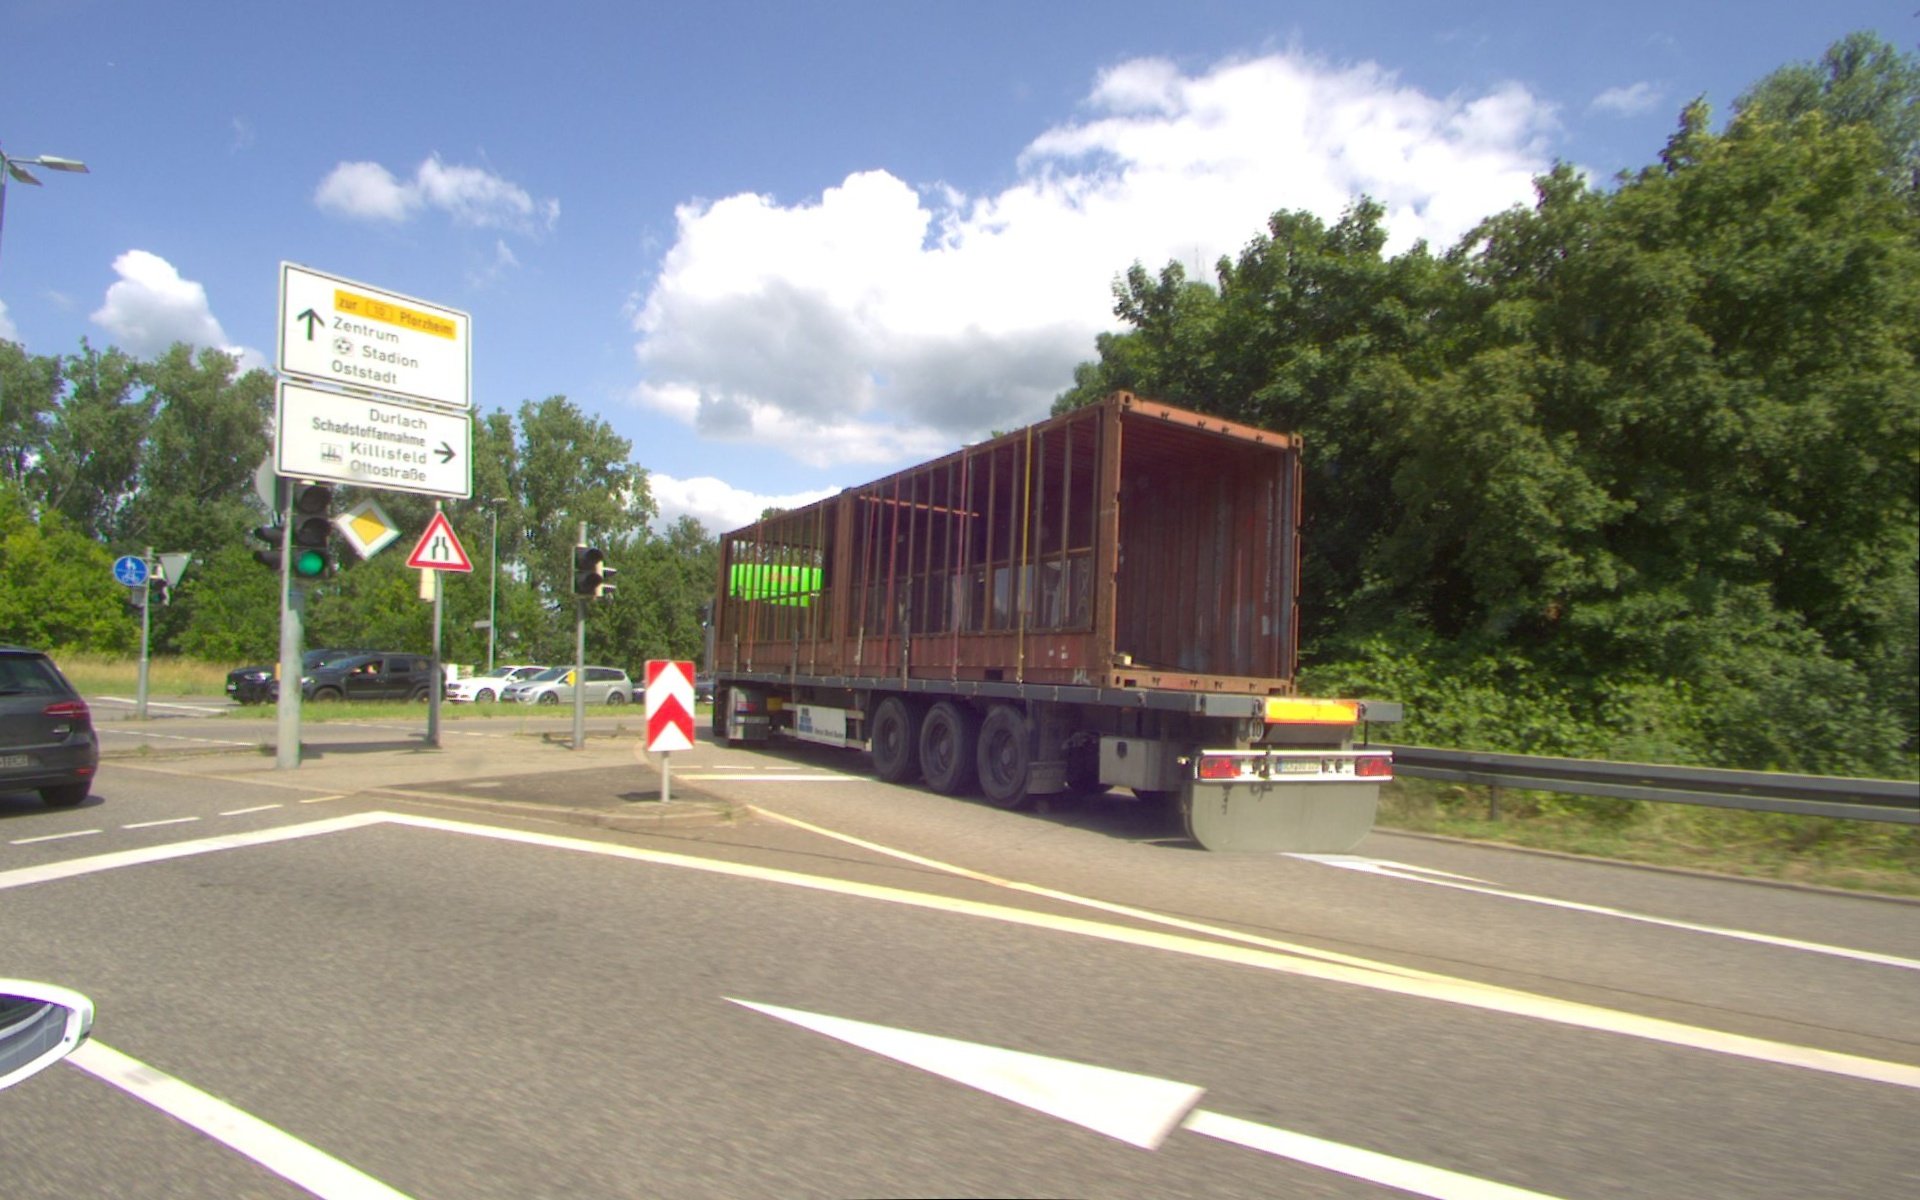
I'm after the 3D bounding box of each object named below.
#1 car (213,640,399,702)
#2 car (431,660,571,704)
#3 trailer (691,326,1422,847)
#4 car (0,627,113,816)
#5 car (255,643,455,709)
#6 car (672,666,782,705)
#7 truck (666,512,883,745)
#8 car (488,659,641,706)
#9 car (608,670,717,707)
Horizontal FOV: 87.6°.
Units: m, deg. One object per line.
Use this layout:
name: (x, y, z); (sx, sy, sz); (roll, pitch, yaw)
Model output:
car: (-19.399, 2.160, 29.894); (1.811, 1.665, 4.199); (0, -5, 32)
car: (-15.988, 2.891, 35.097); (1.623, 1.392, 4.199); (0, -5, 32)
trailer: (-0.501, 0.394, 14.137); (2.612, 3.936, 13.784); (5, -6, -30)
car: (-9.344, 0.988, 8.740); (3.812, 1.497, 1.642); (-1, -3, 28)
car: (-16.435, 2.123, 27.437); (1.819, 1.635, 4.278); (-2, -6, 32)
car: (-9.119, 3.397, 39.481); (1.853, 1.392, 4.033); (0, -5, 32)
truck: (-3.977, 0.773, 20.380); (2.834, 3.948, 5.862); (4, -6, -24)
car: (-12.886, 2.745, 32.913); (1.623, 1.392, 4.525); (0, -5, 32)
car: (-12.161, 3.667, 41.217); (1.676, 1.392, 4.199); (0, -5, 32)
